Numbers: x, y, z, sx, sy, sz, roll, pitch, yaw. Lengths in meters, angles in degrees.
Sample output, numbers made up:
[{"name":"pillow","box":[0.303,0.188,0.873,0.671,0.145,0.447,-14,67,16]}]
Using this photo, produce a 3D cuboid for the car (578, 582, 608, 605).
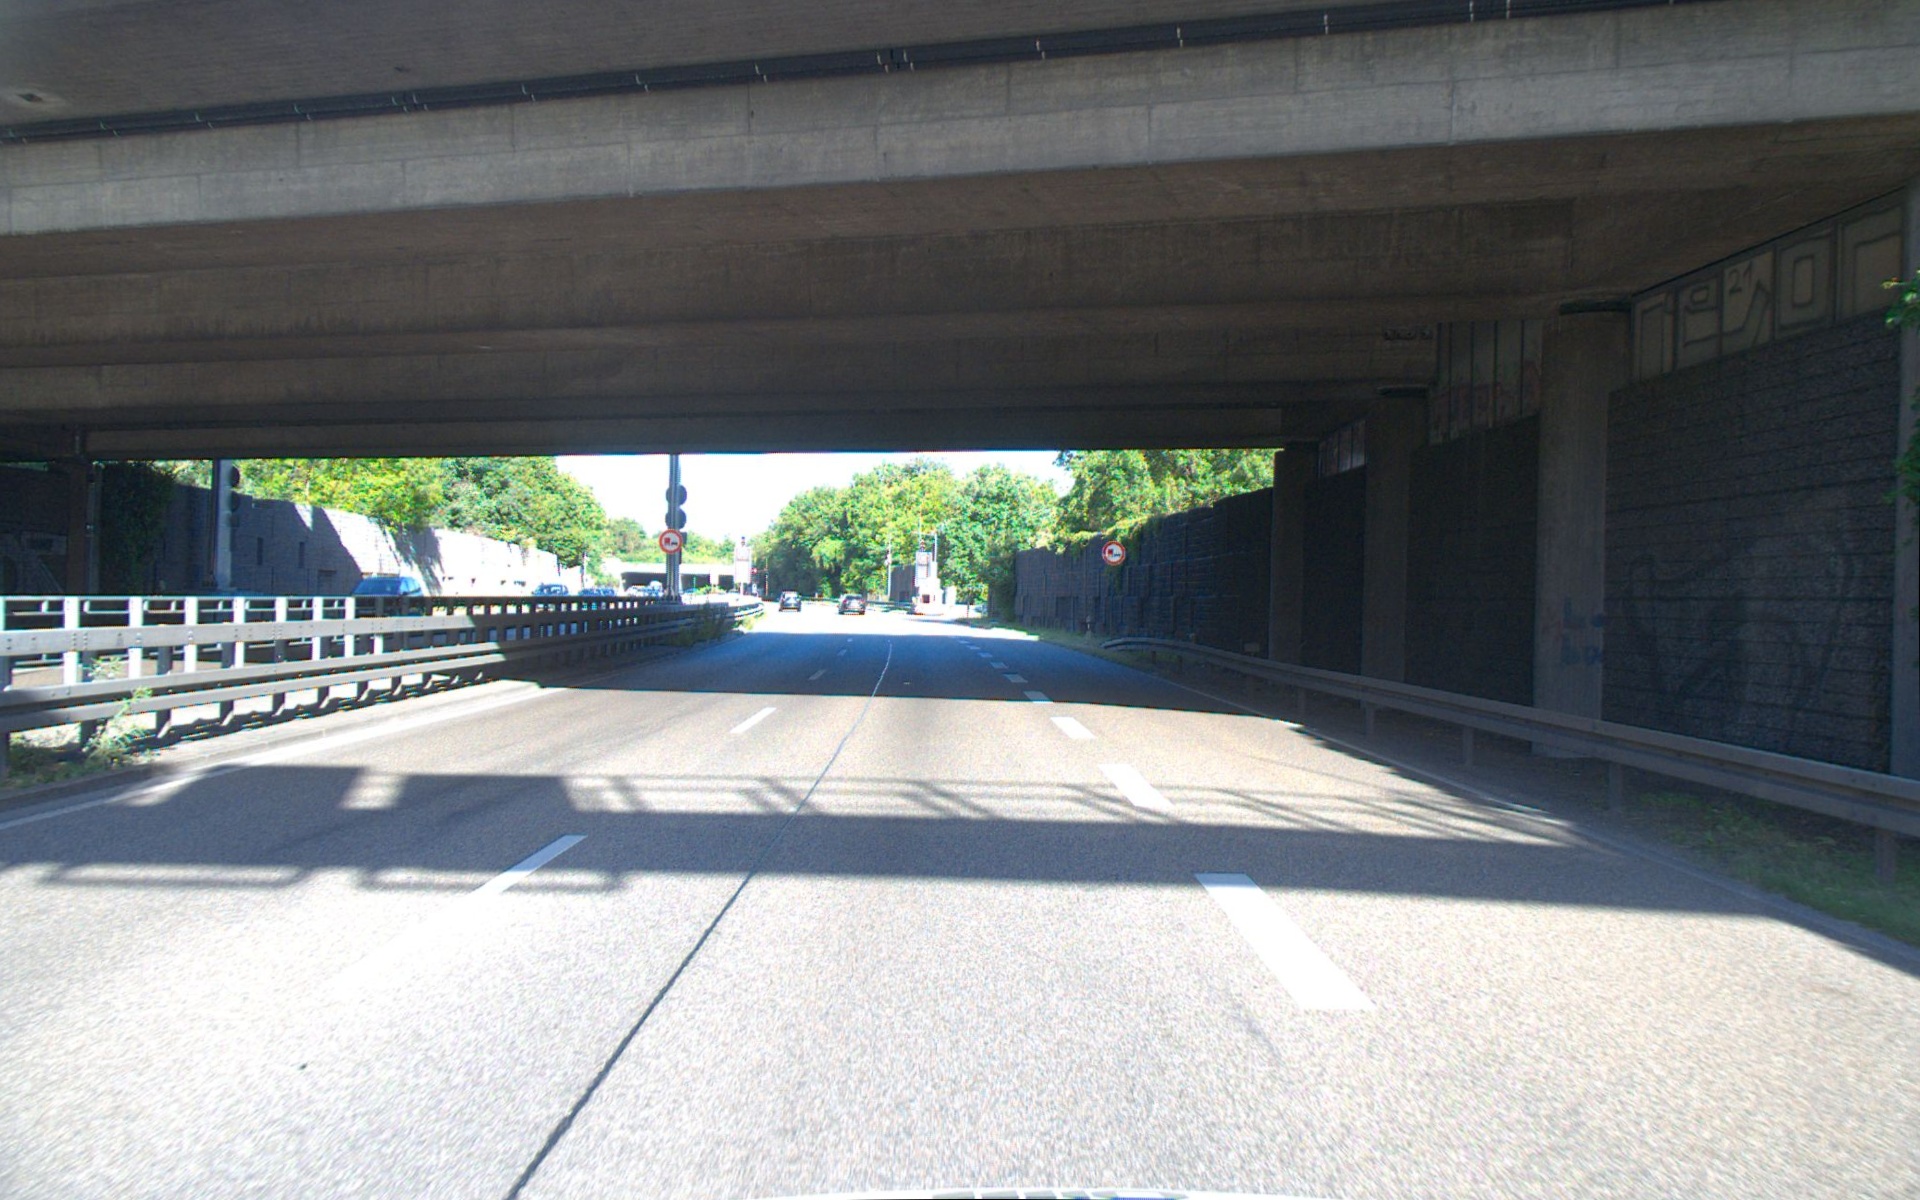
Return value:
[{"name":"car","box":[-26.526,-0.487,119.761,1.516,1.601,4.390,3,0,-6]}]

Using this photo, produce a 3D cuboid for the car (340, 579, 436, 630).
[{"name":"car","box":[-20.328,0.147,58.952,1.953,1.735,4.559,0,0,-2]}]

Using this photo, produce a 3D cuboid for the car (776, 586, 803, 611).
[{"name":"car","box":[-13.766,-0.140,133.892,1.954,1.959,3.997,2,0,-4]}]

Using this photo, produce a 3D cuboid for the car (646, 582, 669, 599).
[{"name":"car","box":[-30.816,-0.996,168.426,1.861,1.601,4.802,3,0,-6]}]

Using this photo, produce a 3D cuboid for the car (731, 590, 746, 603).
[{"name":"car","box":[-34.420,-0.563,256.770,1.959,1.959,3.987,2,0,-13]}]

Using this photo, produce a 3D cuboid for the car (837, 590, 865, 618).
[{"name":"car","box":[-7.914,0.264,120.130,1.954,1.959,3.997,2,0,-4]}]

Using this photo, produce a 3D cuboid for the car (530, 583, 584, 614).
[{"name":"car","box":[-21.875,-0.111,89.964,1.953,1.624,4.425,1,0,-2]}]

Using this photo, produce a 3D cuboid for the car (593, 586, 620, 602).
[{"name":"car","box":[-31.499,-0.561,147.544,1.861,1.446,4.130,0,1,-6]}]
